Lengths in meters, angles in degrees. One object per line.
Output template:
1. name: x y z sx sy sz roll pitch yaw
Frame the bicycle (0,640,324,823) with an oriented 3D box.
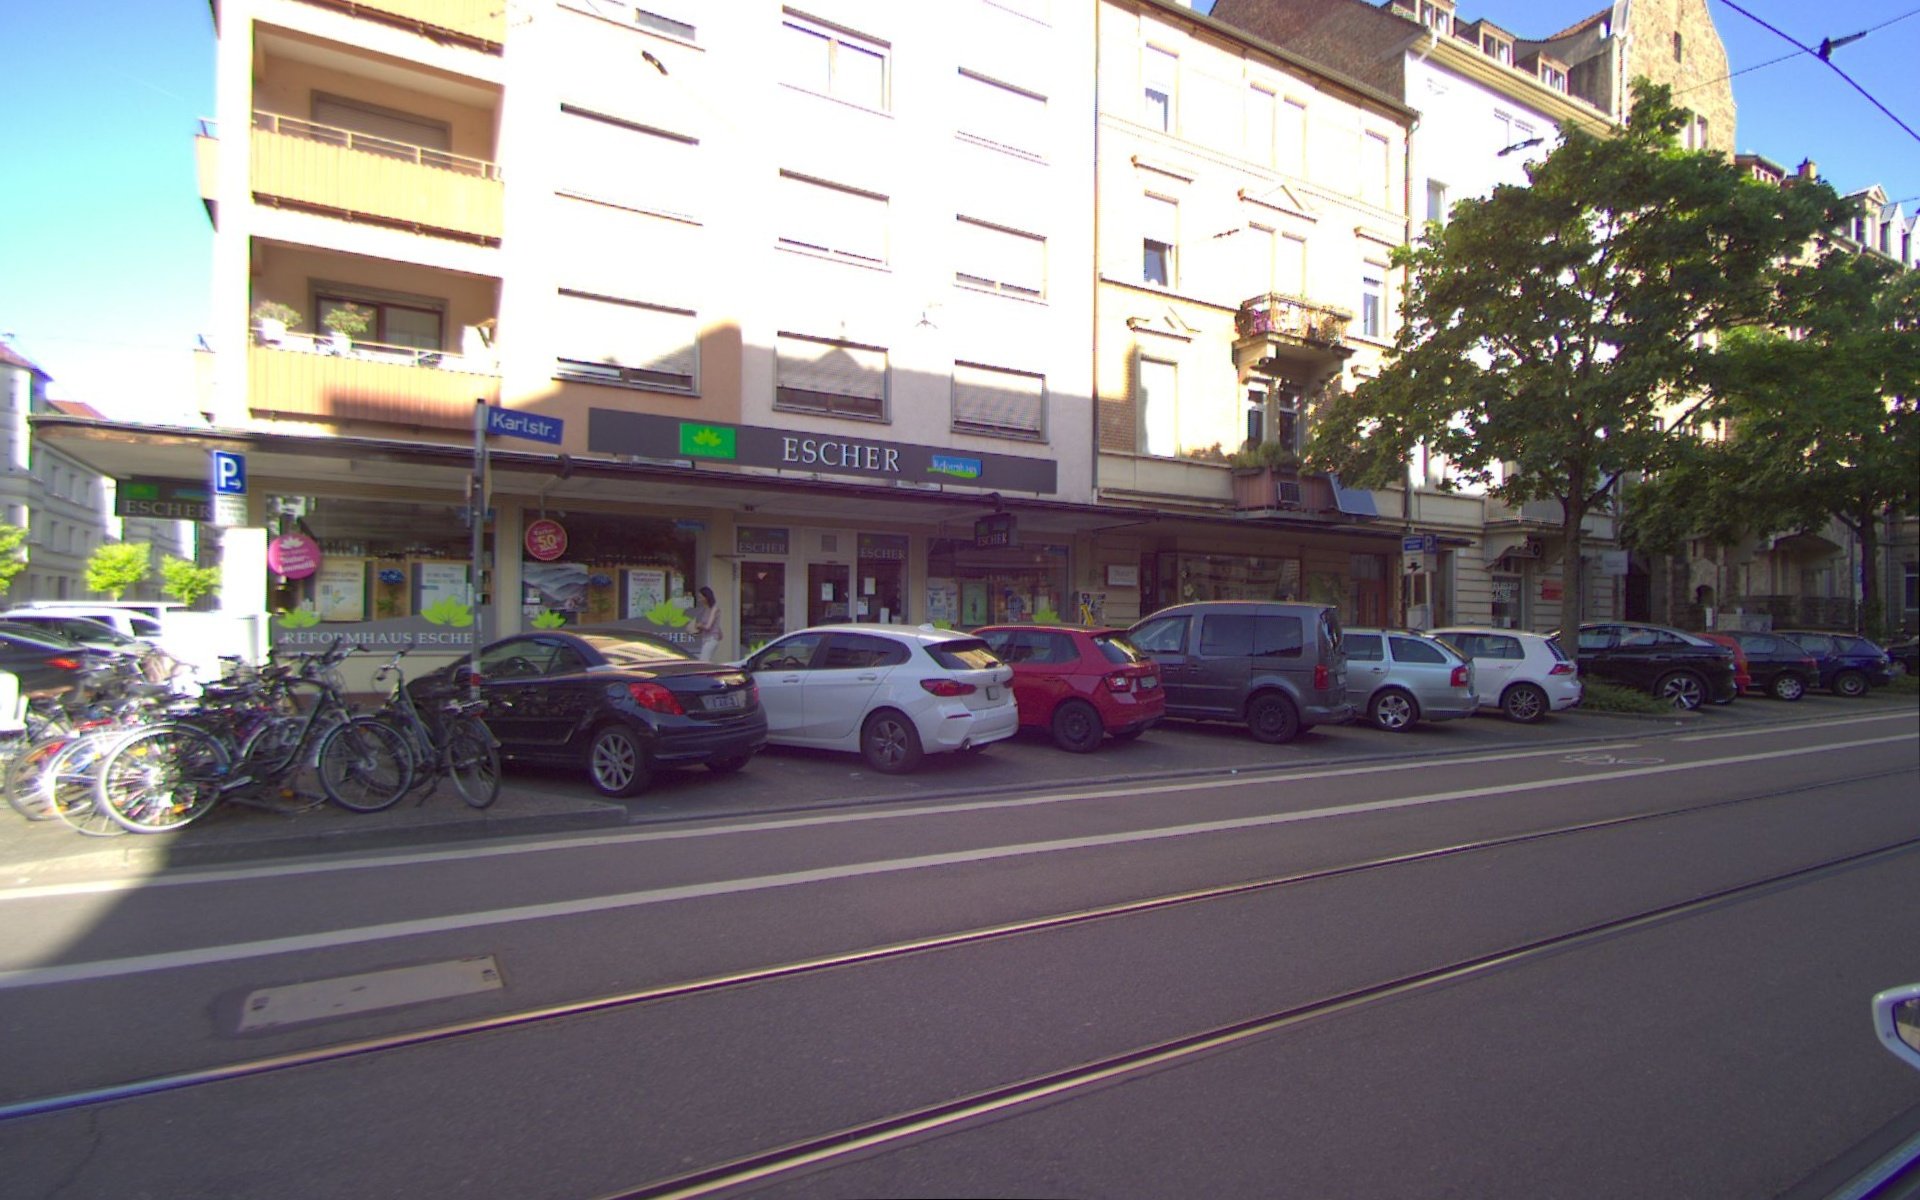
1. bicycle: -6.103 0.929 7.780 0.671 1.138 1.884 0 1 29

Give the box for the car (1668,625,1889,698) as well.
1. car: 19.633 1.432 24.339 3.931 1.509 1.802 1 -1 33

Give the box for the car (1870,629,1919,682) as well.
1. car: 29.559 1.689 29.658 3.945 1.509 1.795 1 -1 44

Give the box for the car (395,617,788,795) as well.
1. car: -3.543 0.893 9.651 3.406 1.355 1.623 1 -1 26

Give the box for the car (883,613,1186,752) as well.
1. car: 0.907 0.929 12.563 3.410 1.492 1.645 0 -1 31

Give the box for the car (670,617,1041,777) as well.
1. car: -1.169 0.948 11.130 3.722 1.418 1.753 1 -1 27

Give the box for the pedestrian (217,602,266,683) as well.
1. pedestrian: -15.189 0.886 21.240 0.755 1.682 0.493 2 0 -30

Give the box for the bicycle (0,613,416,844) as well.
1. bicycle: -5.172 0.791 6.943 2.410 1.337 0.677 -1 1 -35

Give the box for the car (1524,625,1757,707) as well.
1. car: 14.418 1.352 21.581 3.926 1.509 1.865 1 -1 28

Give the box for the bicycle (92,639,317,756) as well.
1. bicycle: -7.881 0.973 10.565 0.398 1.124 1.830 0 -2 38

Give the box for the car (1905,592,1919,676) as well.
1. car: 34.378 1.166 32.426 5.293 2.785 1.802 1 0 31

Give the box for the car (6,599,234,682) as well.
1. car: -20.747 0.928 25.002 1.659 1.737 3.996 1 2 25

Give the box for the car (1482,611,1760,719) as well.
1. car: 12.595 1.178 19.538 4.286 1.806 1.993 1 -1 28

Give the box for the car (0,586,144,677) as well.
1. car: -16.716 0.542 17.139 1.659 1.477 3.996 1 2 25

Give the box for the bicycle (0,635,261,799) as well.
1. bicycle: -7.330 0.919 8.589 0.670 1.124 2.437 0 1 10

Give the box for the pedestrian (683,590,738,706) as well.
1. pedestrian: -3.696 0.699 14.871 0.634 1.674 0.566 2 0 -30

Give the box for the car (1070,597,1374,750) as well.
1. car: 3.630 0.914 13.948 3.753 1.808 1.795 1 0 28

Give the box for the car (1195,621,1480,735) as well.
1. car: 5.828 1.112 15.572 3.945 1.468 1.697 1 -1 28

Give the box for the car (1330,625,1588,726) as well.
1. car: 8.607 1.217 17.415 3.780 1.449 1.761 1 -1 35

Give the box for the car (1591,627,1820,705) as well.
1. car: 16.879 1.444 23.008 3.926 1.509 1.804 1 -1 28

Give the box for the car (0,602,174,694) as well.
1. car: -18.120 0.913 19.624 1.659 1.577 3.996 1 2 25

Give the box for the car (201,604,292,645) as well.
1. car: -37.114 1.277 52.323 1.479 2.010 3.562 1 -1 28

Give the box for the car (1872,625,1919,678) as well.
1. car: 31.370 1.663 31.446 3.933 1.639 1.707 1 -1 35

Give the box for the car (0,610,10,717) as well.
1. car: -14.395 0.902 12.042 1.816 1.411 3.992 1 2 29
